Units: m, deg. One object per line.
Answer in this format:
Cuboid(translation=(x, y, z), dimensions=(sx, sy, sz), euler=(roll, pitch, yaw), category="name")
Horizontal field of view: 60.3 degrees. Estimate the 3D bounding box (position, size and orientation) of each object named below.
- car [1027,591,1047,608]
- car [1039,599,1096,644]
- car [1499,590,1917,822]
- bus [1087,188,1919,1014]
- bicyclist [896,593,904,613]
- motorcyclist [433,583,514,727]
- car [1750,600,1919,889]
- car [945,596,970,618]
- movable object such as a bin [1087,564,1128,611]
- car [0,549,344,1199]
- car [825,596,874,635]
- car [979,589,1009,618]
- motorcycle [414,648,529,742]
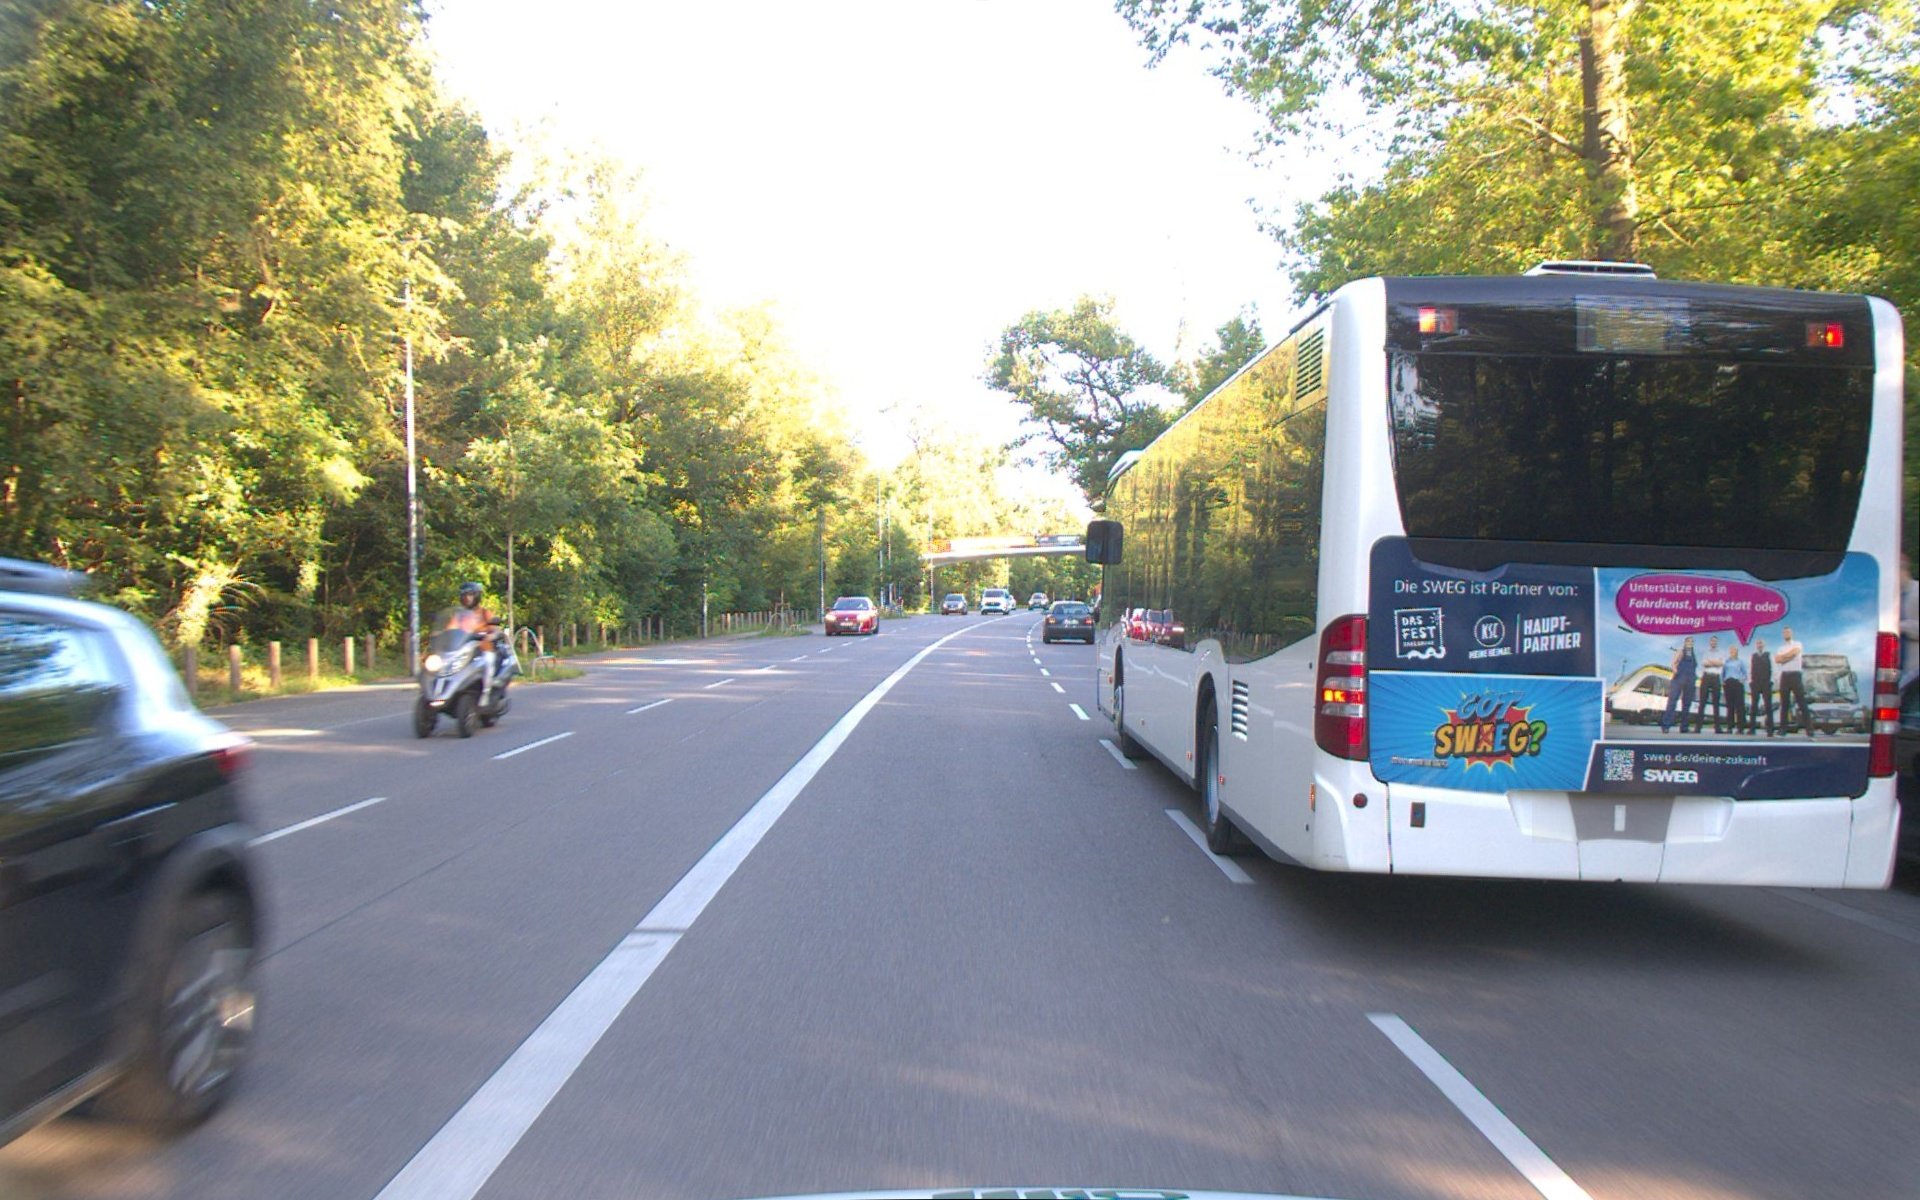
Cuboid(translation=(7.916, -0.102, 170.664), dimensions=(1.877, 1.734, 4.445), euler=(0, 0, 5), category="car")
Cuboid(translation=(3.611, 0.689, 56.219), dimensions=(1.692, 1.467, 4.090), euler=(0, 0, 0), category="car")
Cuboid(translation=(5.899, 0.739, 13.580), dimensions=(1.563, 1.548, 3.909), euler=(-3, 0, -1), category="car")
Cuboid(translation=(2.764, 0.000, 12.709), dimensions=(2.649, 3.278, 12.278), euler=(0, 0, 0), category="bus")
Cuboid(translation=(-4.548, 0.198, 125.903), dimensions=(0.489, 1.510, 0.761), euler=(-2, 0, 4), category="bicyclist")
Cuboid(translation=(-5.446, 0.604, 18.540), dimensions=(0.643, 1.567, 0.904), euler=(0, 0, -1), category="motorcyclist")
Cuboid(translation=(5.915, 0.743, 8.187), dimensions=(1.815, 1.459, 4.535), euler=(-3, 0, 0), category="car")
Cuboid(translation=(-0.185, 0.523, 126.976), dimensions=(1.763, 1.627, 4.001), euler=(0, 0, 2), category="car")
Cuboid(translation=(11.213, -0.961, 126.296), dimensions=(2.701, 3.429, 7.602), euler=(-1, 0, 2), category="movable object such as a bin")
Cuboid(translation=(-2.899, 0.689, 3.355), dimensions=(1.768, 1.572, 4.089), euler=(-1, 0, 0), category="car")
Cuboid(translation=(-4.355, 0.598, 65.809), dimensions=(1.786, 1.488, 4.923), euler=(0, 0, -2), category="car")
Cuboid(translation=(2.635, 0.241, 128.504), dimensions=(2.161, 1.994, 4.914), euler=(-5, 0, 1), category="car")
Cuboid(translation=(-5.445, 1.032, 18.570), dimensions=(0.655, 0.920, 2.166), euler=(0, 0, 0), category="motorcycle")
